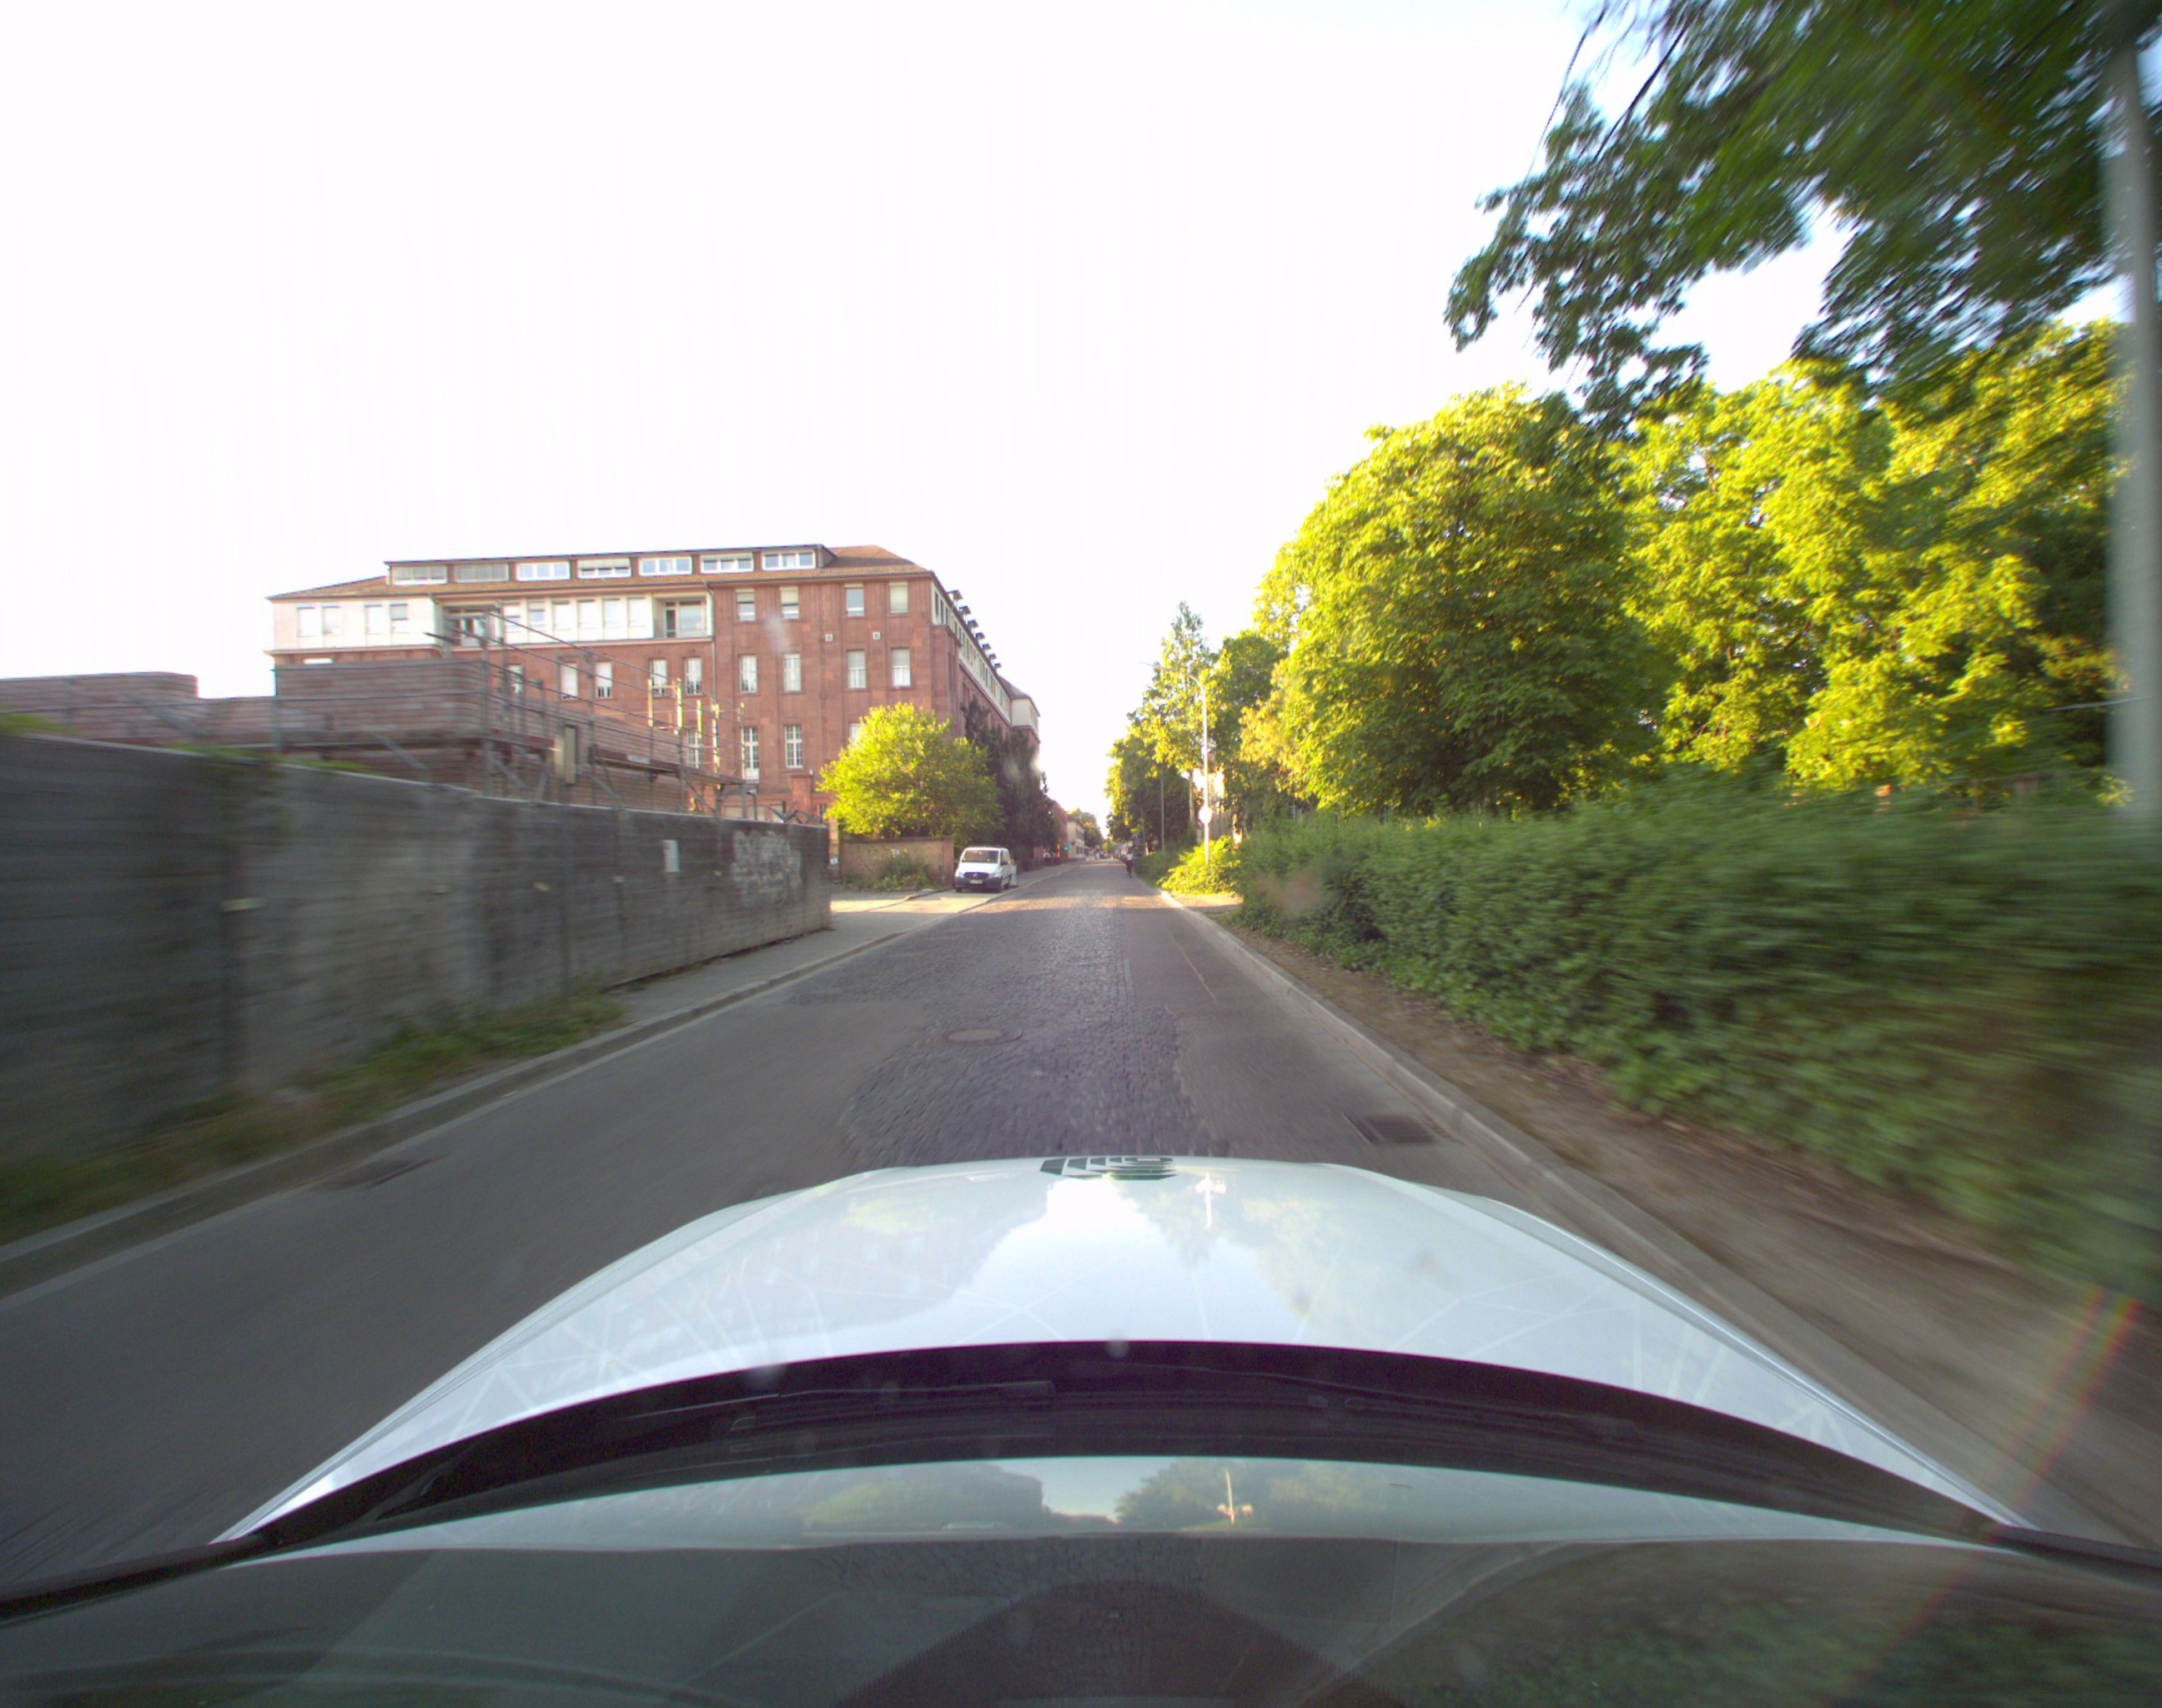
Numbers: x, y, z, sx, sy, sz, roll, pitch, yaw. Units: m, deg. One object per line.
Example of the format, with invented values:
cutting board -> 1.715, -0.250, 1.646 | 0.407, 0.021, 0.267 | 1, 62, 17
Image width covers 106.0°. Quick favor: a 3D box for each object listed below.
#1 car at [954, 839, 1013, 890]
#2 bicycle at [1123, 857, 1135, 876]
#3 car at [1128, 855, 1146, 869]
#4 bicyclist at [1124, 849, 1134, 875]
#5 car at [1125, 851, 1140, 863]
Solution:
car -> -4.120, 0.466, 35.215 | 1.876, 2.014, 5.225 | 0, -1, 0
bicycle -> 3.187, 0.826, 54.129 | 0.636, 1.193, 1.876 | 0, 0, 0
car -> 6.446, 0.884, 94.179 | 1.680, 1.447, 3.671 | -5, -1, 0
bicyclist -> 3.184, 0.525, 54.238 | 0.637, 1.667, 0.842 | 0, 0, 0
car -> 6.865, 0.446, 108.142 | 1.710, 1.538, 4.048 | -1, 0, 0
